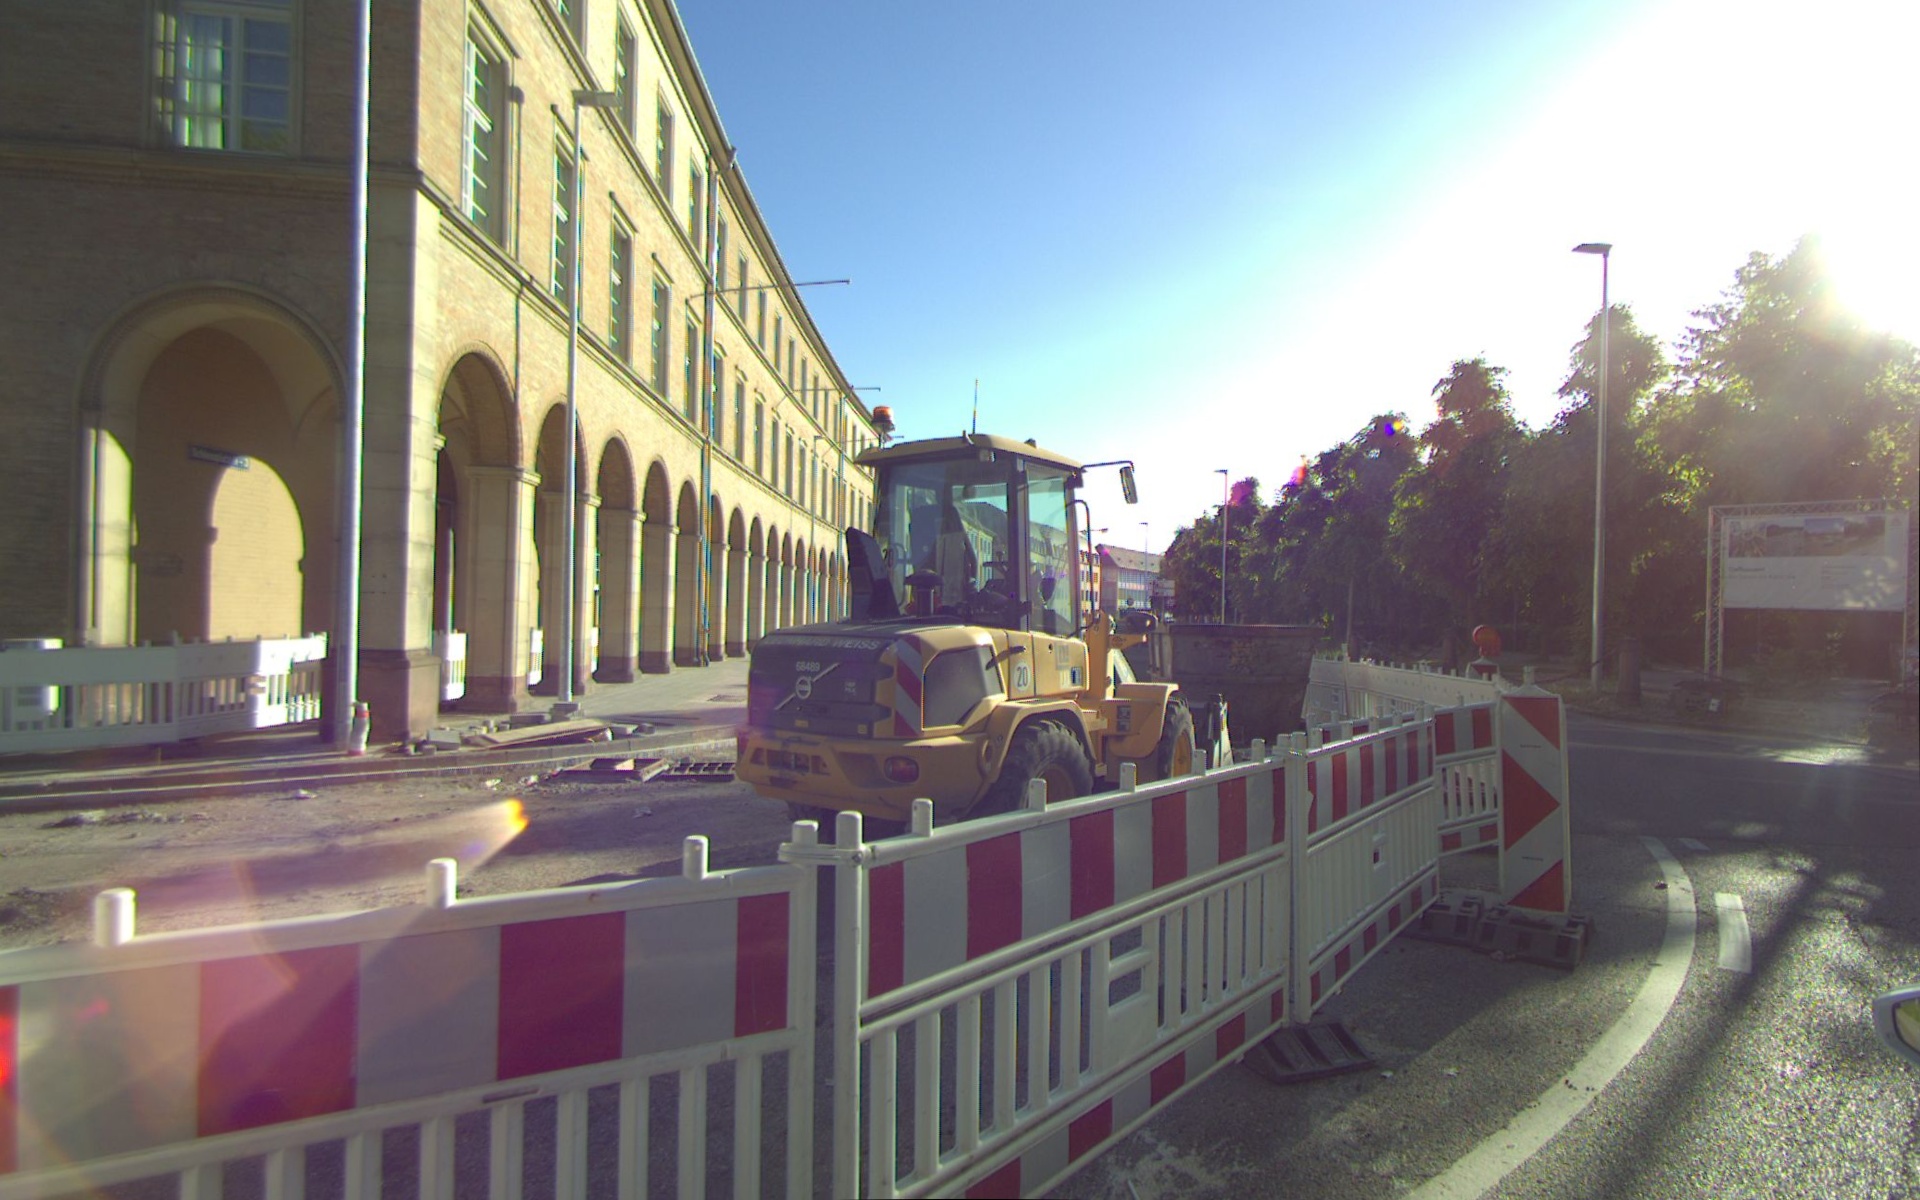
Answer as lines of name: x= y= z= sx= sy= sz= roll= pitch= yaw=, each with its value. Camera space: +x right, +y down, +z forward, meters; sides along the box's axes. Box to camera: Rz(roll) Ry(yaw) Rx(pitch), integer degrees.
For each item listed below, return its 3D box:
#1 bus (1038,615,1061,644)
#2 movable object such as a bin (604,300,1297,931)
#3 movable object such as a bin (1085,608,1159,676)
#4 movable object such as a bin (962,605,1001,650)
bus: x=9.161 y=3.060 z=102.683 sx=2.037 sy=2.721 sz=4.688 roll=1 pitch=-3 yaw=8
movable object such as a bin: x=0.506 y=0.174 z=8.044 sx=2.525 sy=3.071 sz=5.911 roll=0 pitch=-2 yaw=36
movable object such as a bin: x=5.133 y=1.278 z=32.333 sx=2.015 sy=1.975 sz=4.336 roll=1 pitch=0 yaw=6
movable object such as a bin: x=1.313 y=1.590 z=59.992 sx=2.039 sy=2.508 sz=4.618 roll=1 pitch=0 yaw=4
